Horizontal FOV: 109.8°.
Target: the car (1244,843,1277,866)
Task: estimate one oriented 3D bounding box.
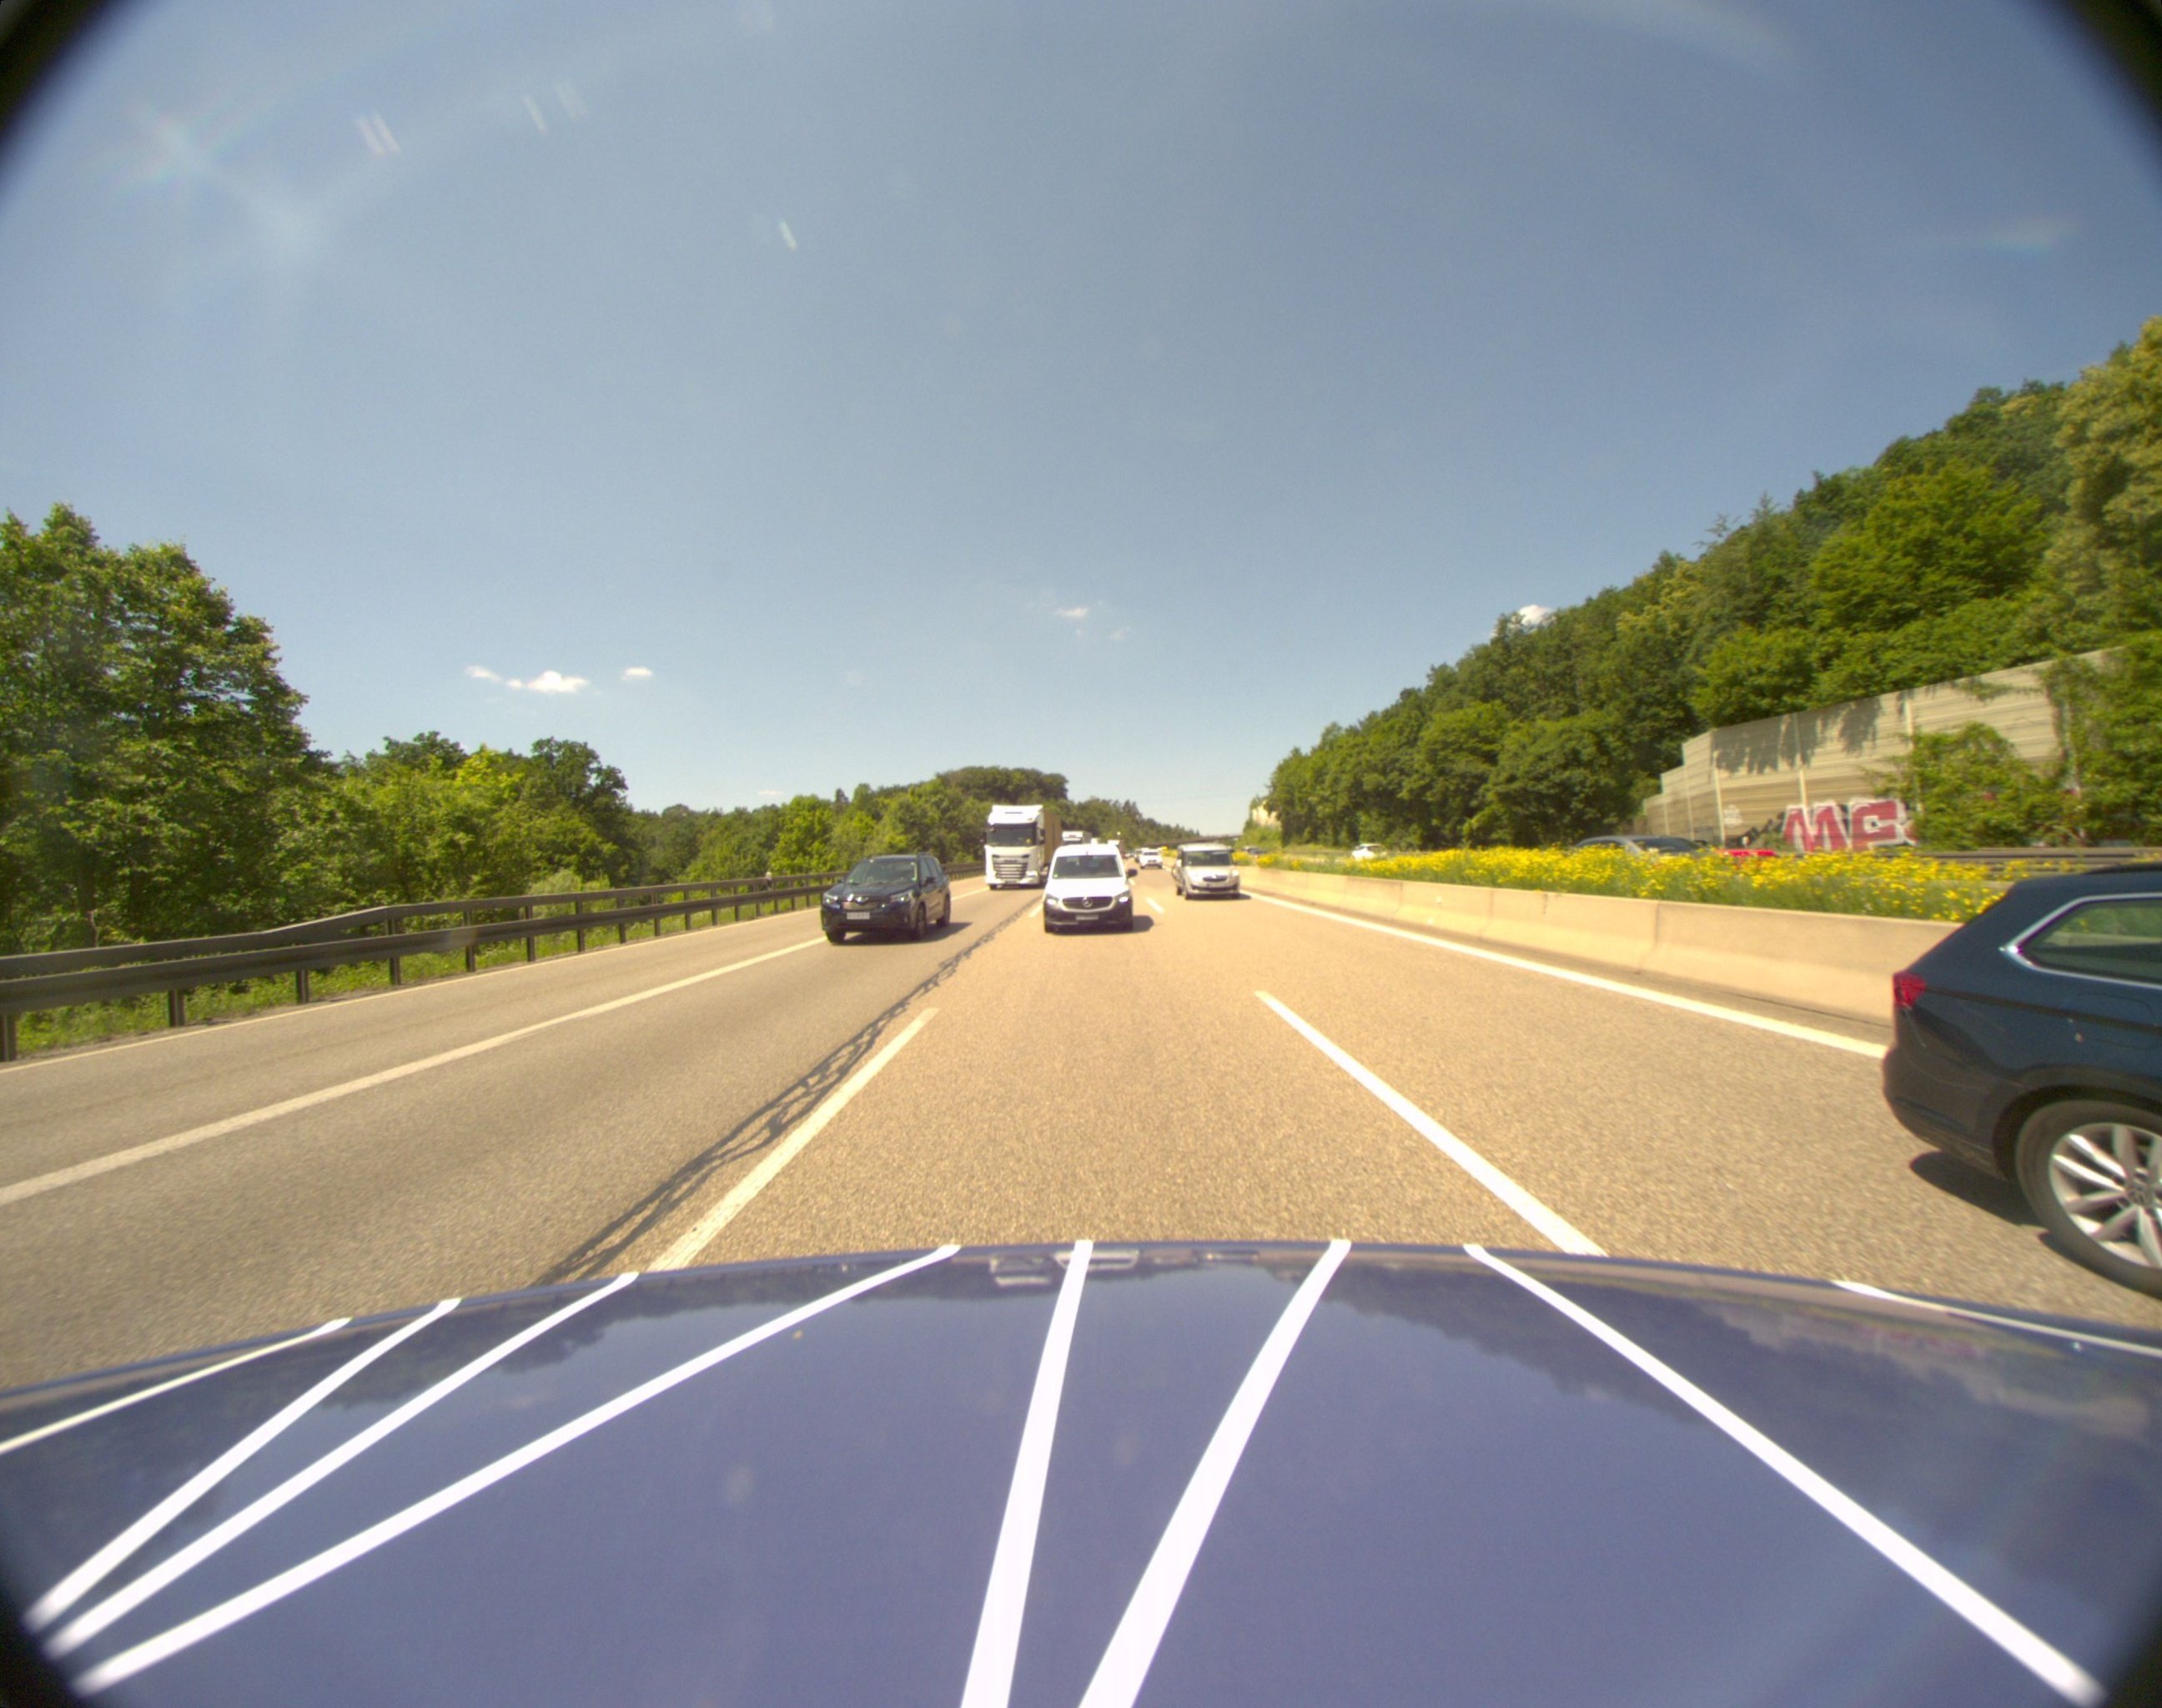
[{"bbox_3d":[13.416,0.007,57.012,1.646,1.641,3.712,-2,1,1],"label":"car"}]

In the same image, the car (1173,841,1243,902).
[{"bbox_3d":[4.202,0.542,25.636,1.780,1.833,4.000,-2,1,2],"label":"car"}]

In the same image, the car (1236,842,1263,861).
[{"bbox_3d":[18.110,-0.319,81.769,1.998,1.888,4.505,-2,1,2],"label":"car"}]

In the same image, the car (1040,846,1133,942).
[{"bbox_3d":[0.188,0.745,16.699,1.729,1.760,4.313,-2,1,2],"label":"car"}]

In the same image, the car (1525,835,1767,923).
[{"bbox_3d":[11.750,0.439,16.306,1.751,1.568,4.714,-2,1,1],"label":"car"}]

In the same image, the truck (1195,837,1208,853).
[{"bbox_3d":[26.642,-2.002,168.495,1.998,3.486,6.027,-2,0,2],"label":"truck"}]

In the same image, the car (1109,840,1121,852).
[{"bbox_3d":[7.830,-1.915,175.307,2.721,2.535,5.940,-2,1,2],"label":"car"}]

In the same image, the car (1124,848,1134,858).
[{"bbox_3d":[10.970,-0.216,172.438,1.998,2.002,4.000,-2,0,1],"label":"car"}]

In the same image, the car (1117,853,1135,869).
[{"bbox_3d":[6.000,0.896,101.336,1.999,2.002,3.999,-2,0,-1],"label":"car"}]

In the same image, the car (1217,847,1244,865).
[{"bbox_3d":[14.297,0.146,72.815,1.727,1.614,4.690,-2,1,2],"label":"car"}]

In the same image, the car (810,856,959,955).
[{"bbox_3d":[-3.916,0.937,15.918,1.816,1.658,4.203,-2,1,2],"label":"car"}]

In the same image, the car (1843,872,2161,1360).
[{"bbox_3d":[4.147,0.824,0.911,1.737,1.419,4.729,-2,0,1],"label":"car"}]

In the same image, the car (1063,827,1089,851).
[{"bbox_3d":[-0.556,-1.733,87.837,2.721,2.535,5.940,-2,1,2],"label":"car"}]

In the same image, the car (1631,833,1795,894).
[{"bbox_3d":[19.097,0.218,23.234,1.743,1.630,4.188,-2,1,5],"label":"car"}]

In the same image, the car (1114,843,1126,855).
[{"bbox_3d":[6.966,-0.907,137.583,1.902,2.002,4.000,-2,0,0],"label":"car"}]

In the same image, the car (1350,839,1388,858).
[{"bbox_3d":[23.776,-0.430,62.838,1.634,1.474,4.313,-2,0,2],"label":"car"}]

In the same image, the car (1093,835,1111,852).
[{"bbox_3d":[3.367,-1.754,123.319,2.721,2.535,5.940,-2,1,2],"label":"car"}]

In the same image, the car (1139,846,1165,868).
[{"bbox_3d":[6.174,0.210,66.722,1.998,1.827,4.000,-2,1,2],"label":"car"}]

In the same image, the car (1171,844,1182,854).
[{"bbox_3d":[21.369,-1.080,169.511,1.998,2.002,4.000,-2,0,1],"label":"car"}]

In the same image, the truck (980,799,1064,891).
[{"bbox_3d":[-2.863,-0.549,42.935,2.789,4.145,16.267,-1,1,2],"label":"truck"}]
